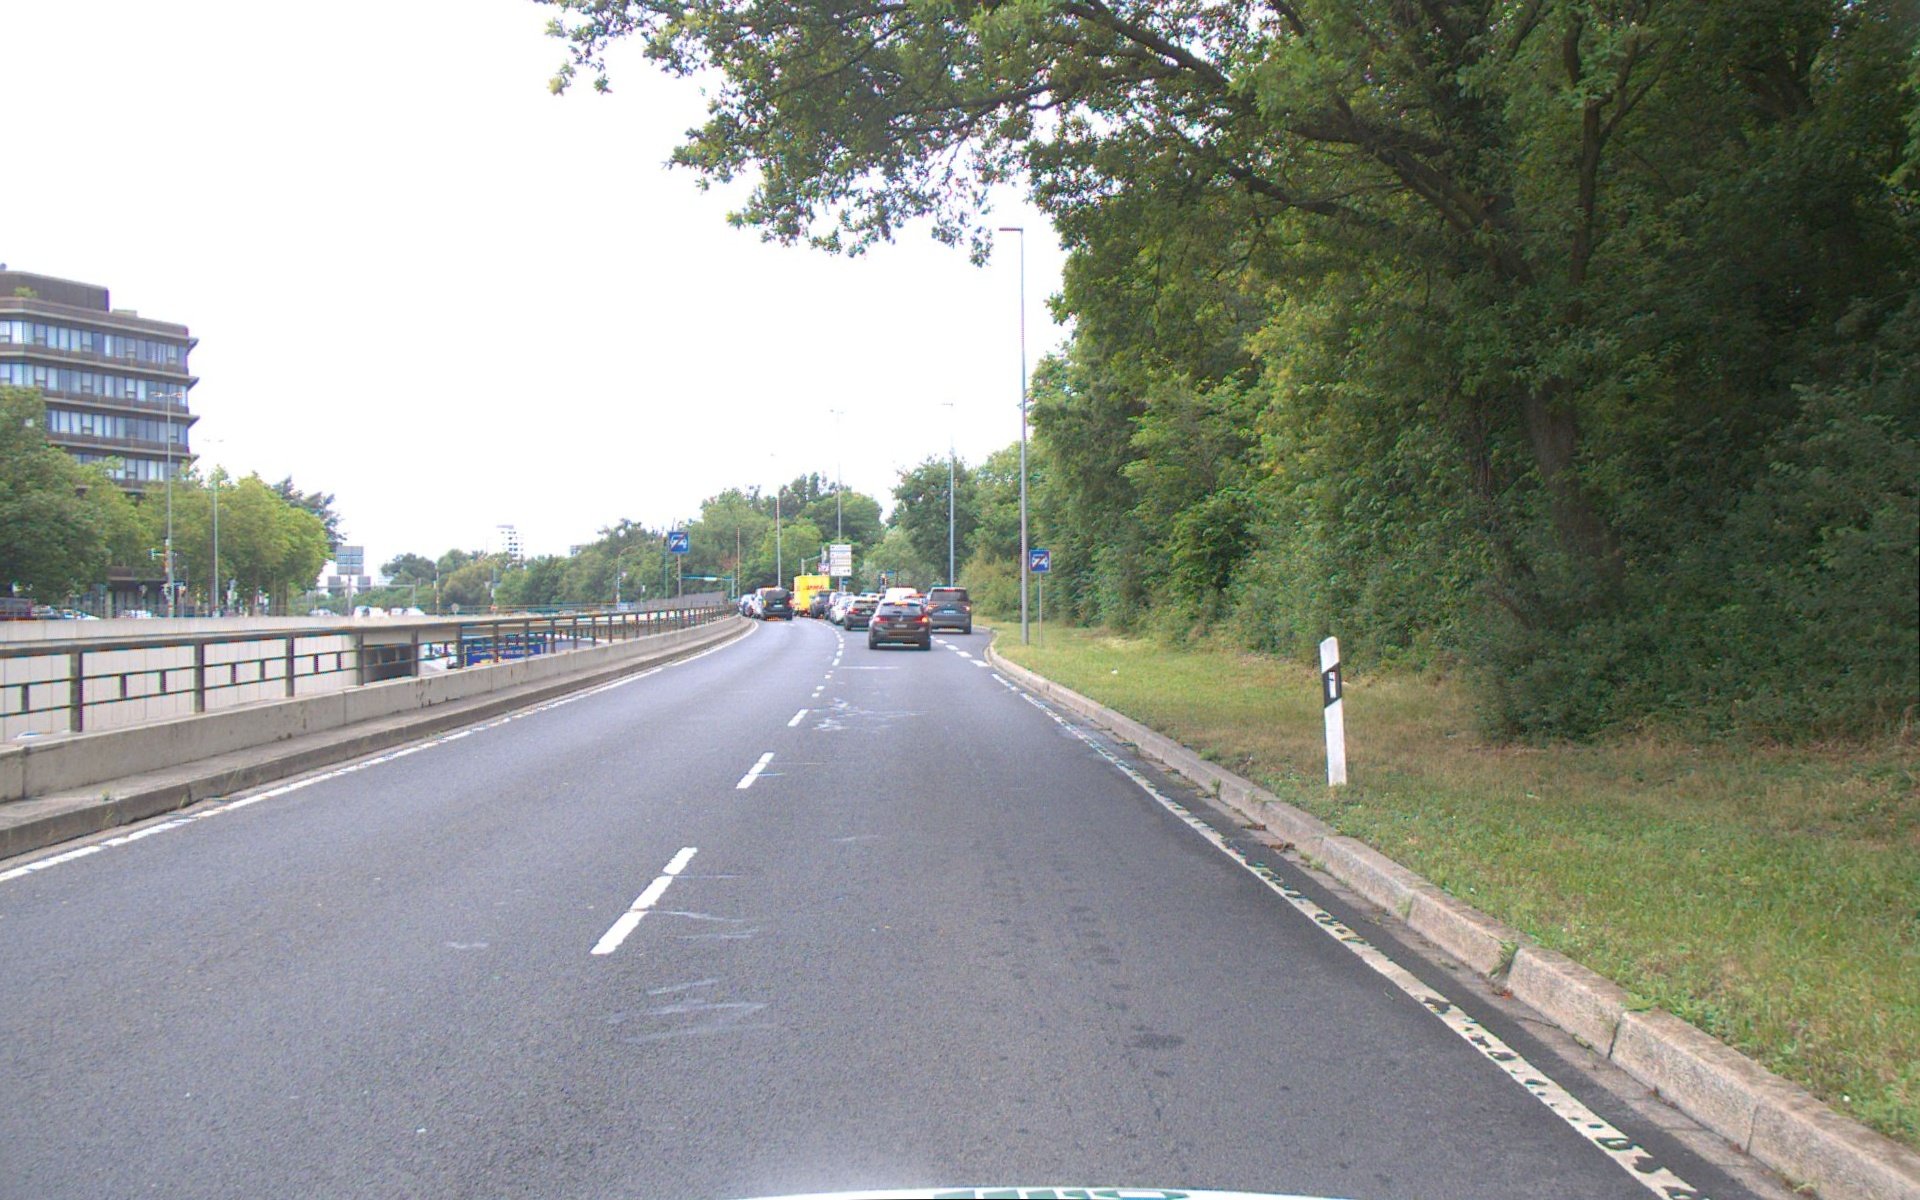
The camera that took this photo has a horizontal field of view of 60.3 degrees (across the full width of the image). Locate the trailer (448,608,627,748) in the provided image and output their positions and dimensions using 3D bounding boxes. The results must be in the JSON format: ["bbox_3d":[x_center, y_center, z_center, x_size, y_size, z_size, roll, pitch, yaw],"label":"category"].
[{"bbox_3d":[-14.278,2.417,57.620,2.794,4.107,15.995,-1,-1,-3],"label":"trailer"}]

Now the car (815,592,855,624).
[{"bbox_3d":[-6.625,0.451,87.319,1.849,1.620,4.423,1,0,-7],"label":"car"}]

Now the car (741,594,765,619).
[{"bbox_3d":[-14.997,0.478,119.965,1.593,1.731,4.287,1,0,-9],"label":"car"}]

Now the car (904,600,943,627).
[{"bbox_3d":[-1.976,0.702,88.166,1.847,1.379,3.996,1,0,-4],"label":"car"}]

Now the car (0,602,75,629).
[{"bbox_3d":[-51.679,0.873,92.063,1.597,1.466,3.983,0,-1,37],"label":"car"}]

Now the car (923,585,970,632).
[{"bbox_3d":[-0.595,0.366,69.489,1.860,1.917,4.413,1,0,-2],"label":"car"}]

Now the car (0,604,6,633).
[{"bbox_3d":[-50.991,0.918,84.139,1.597,1.466,3.983,0,-1,37],"label":"car"}]

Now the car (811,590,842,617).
[{"bbox_3d":[-8.868,0.248,109.482,1.849,1.730,4.423,1,0,-7],"label":"car"}]

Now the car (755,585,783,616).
[{"bbox_3d":[-12.984,0.071,112.347,1.849,2.022,4.423,1,-1,-7],"label":"car"}]

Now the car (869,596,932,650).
[{"bbox_3d":[-1.789,0.644,48.576,1.714,1.451,4.458,0,1,-4],"label":"car"}]

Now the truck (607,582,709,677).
[{"bbox_3d":[-14.515,1.379,80.788,2.794,4.107,15.568,-1,-1,-3],"label":"truck"}]

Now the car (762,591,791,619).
[{"bbox_3d":[-11.598,0.304,104.316,1.593,1.731,4.287,1,0,-9],"label":"car"}]

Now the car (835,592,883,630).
[{"bbox_3d":[-4.477,0.486,73.068,1.849,1.620,4.423,1,0,-7],"label":"car"}]

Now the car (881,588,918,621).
[{"bbox_3d":[-3.657,0.289,99.237,1.849,1.912,4.423,1,-1,-7],"label":"car"}]
